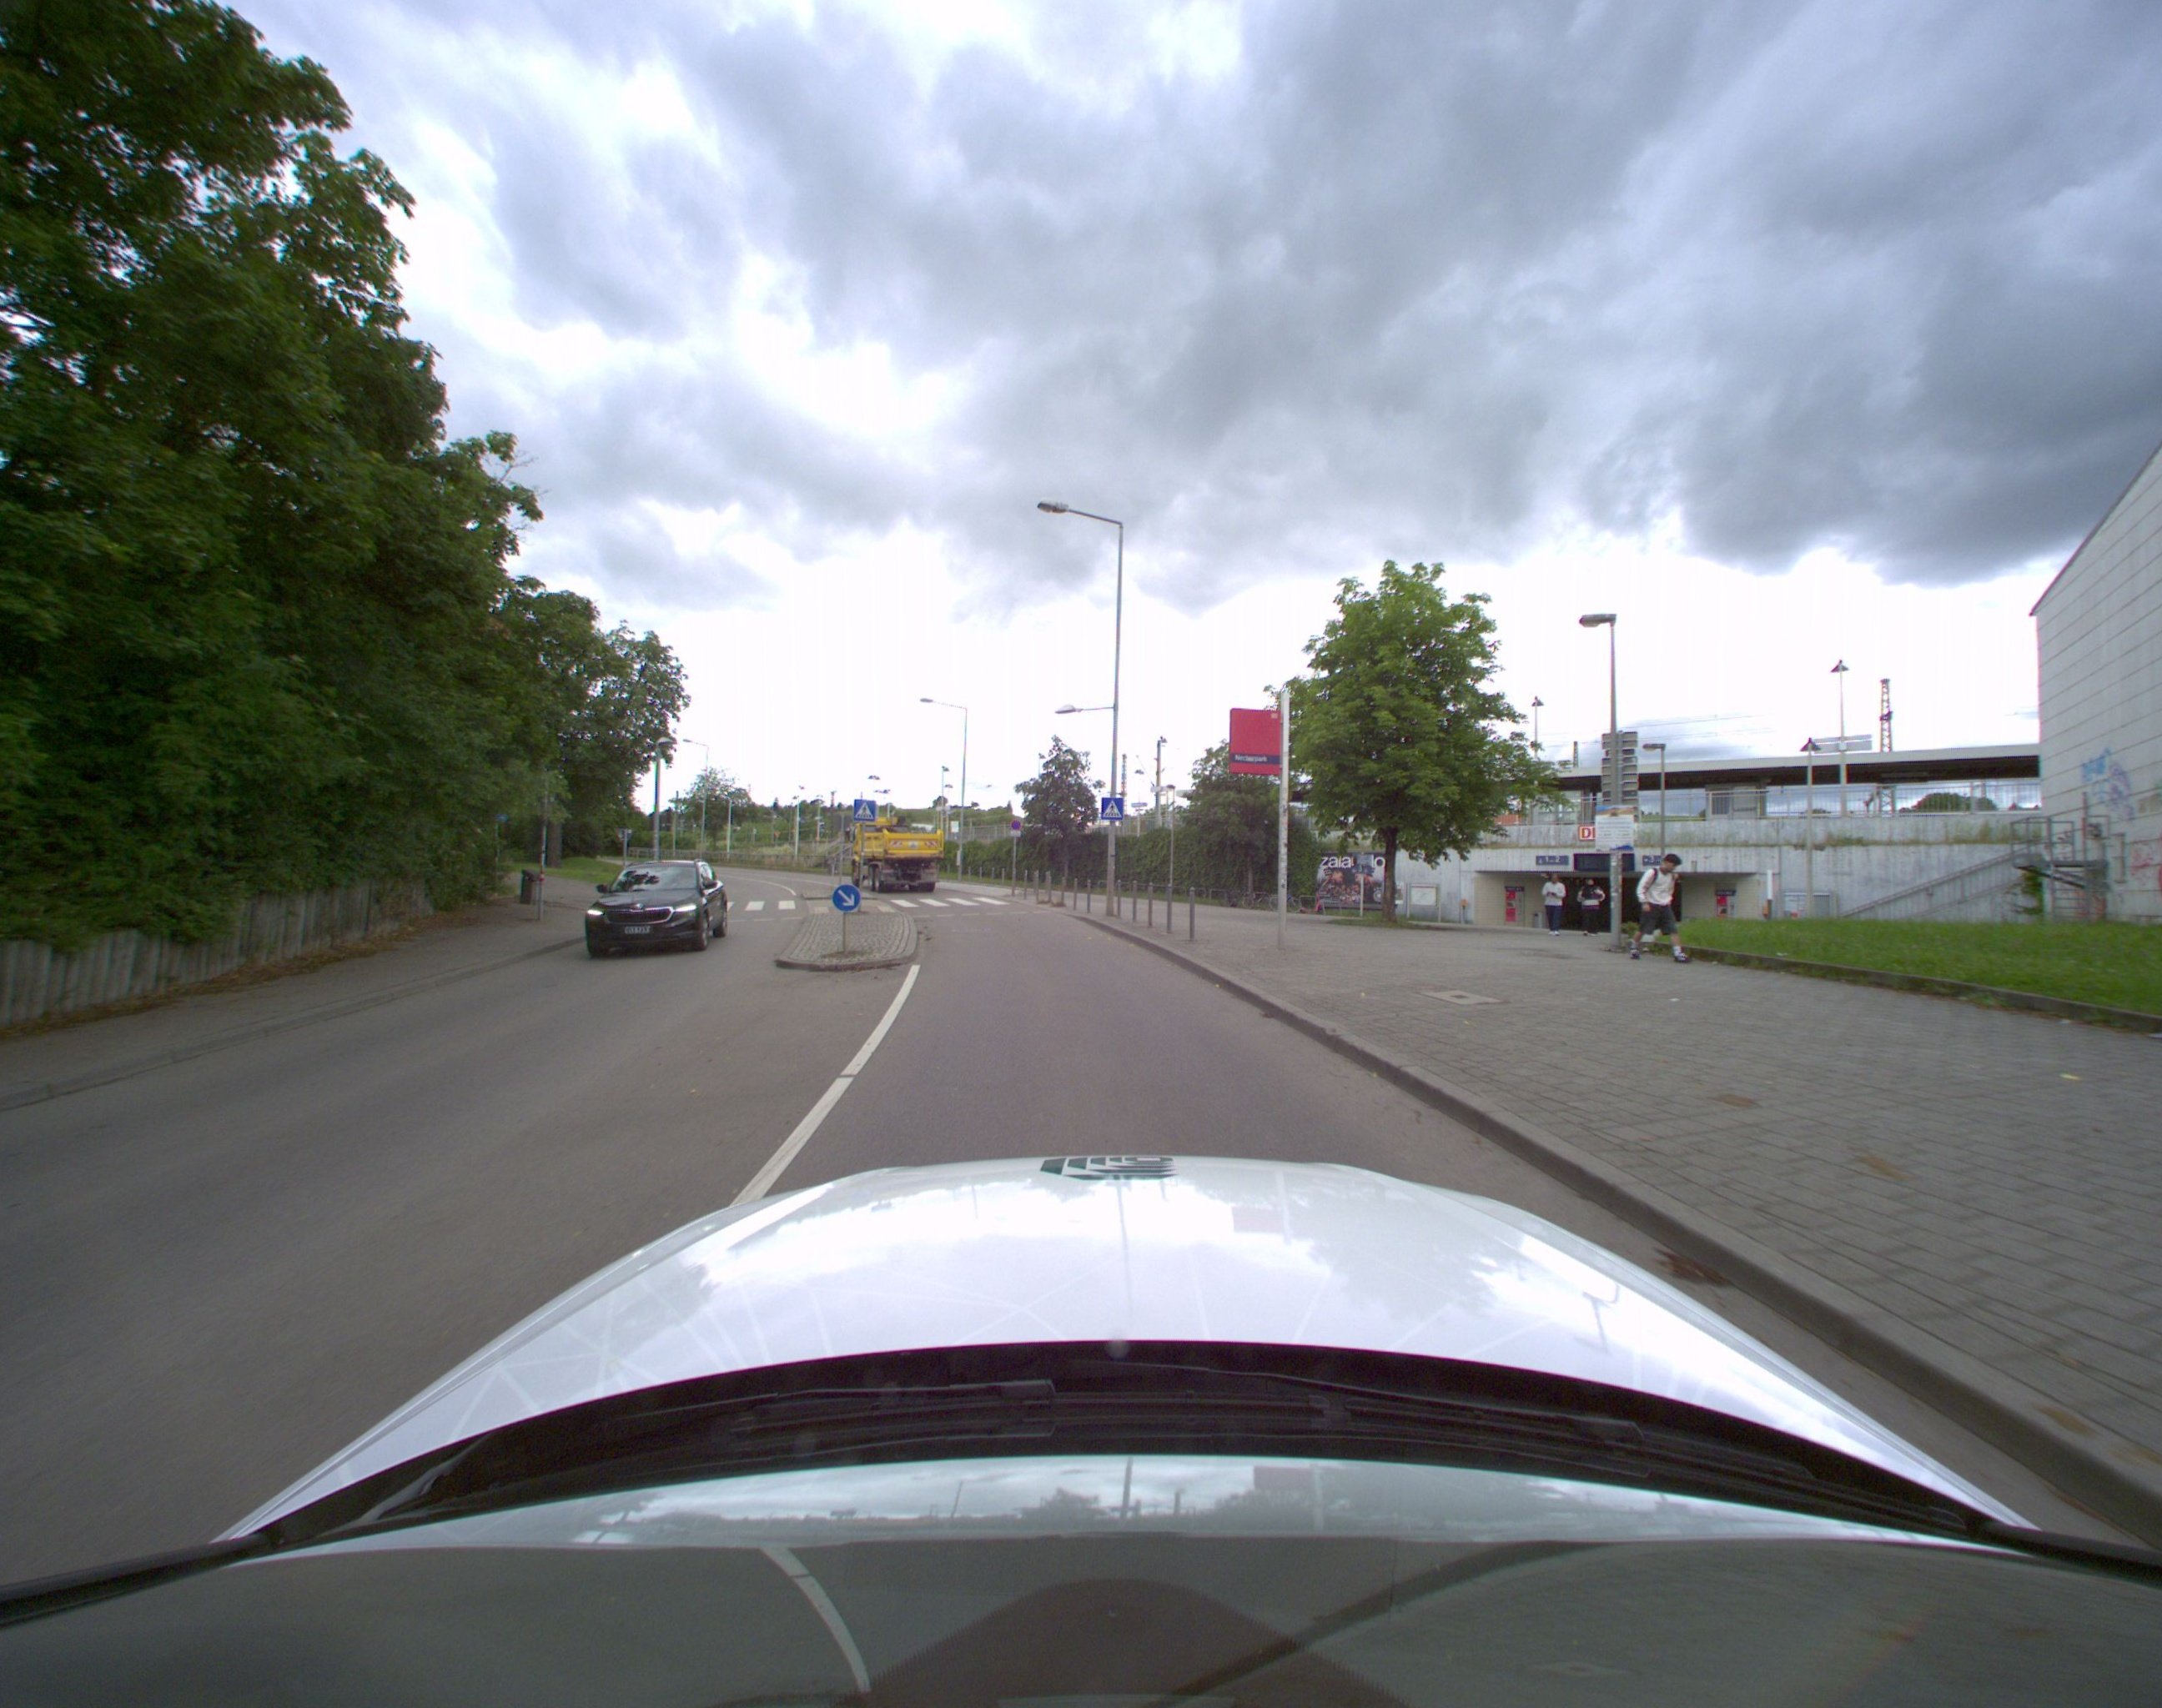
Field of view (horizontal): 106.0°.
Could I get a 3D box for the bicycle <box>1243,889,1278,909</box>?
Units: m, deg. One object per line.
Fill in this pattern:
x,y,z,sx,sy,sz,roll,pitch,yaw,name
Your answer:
8.697,2.198,39.420,1.576,0.854,0.461,4,-2,-12,bicycle

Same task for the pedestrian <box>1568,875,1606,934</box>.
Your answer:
14.017,1.395,22.590,0.792,1.584,0.806,0,-3,24,pedestrian

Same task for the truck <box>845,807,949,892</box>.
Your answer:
-8.706,-0.237,37.711,2.779,3.483,8.059,1,1,-27,truck

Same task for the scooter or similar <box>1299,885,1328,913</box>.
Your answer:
10.645,2.066,37.291,1.188,1.206,0.466,4,-2,-12,scooter or similar

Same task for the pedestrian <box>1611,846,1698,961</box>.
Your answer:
8.805,0.749,12.547,0.841,1.684,0.945,-1,-3,21,pedestrian

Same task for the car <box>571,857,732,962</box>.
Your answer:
-7.769,0.899,15.155,1.807,1.610,4.152,-2,0,-17,car

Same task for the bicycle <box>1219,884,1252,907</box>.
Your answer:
7.587,2.039,40.007,1.481,0.989,0.695,3,-1,2,bicycle

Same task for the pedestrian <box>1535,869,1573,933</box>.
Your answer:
12.851,1.267,22.138,0.807,1.703,0.753,0,-3,24,pedestrian

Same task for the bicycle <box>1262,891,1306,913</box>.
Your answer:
9.598,2.247,38.443,1.969,0.865,0.508,5,-2,-15,bicycle
